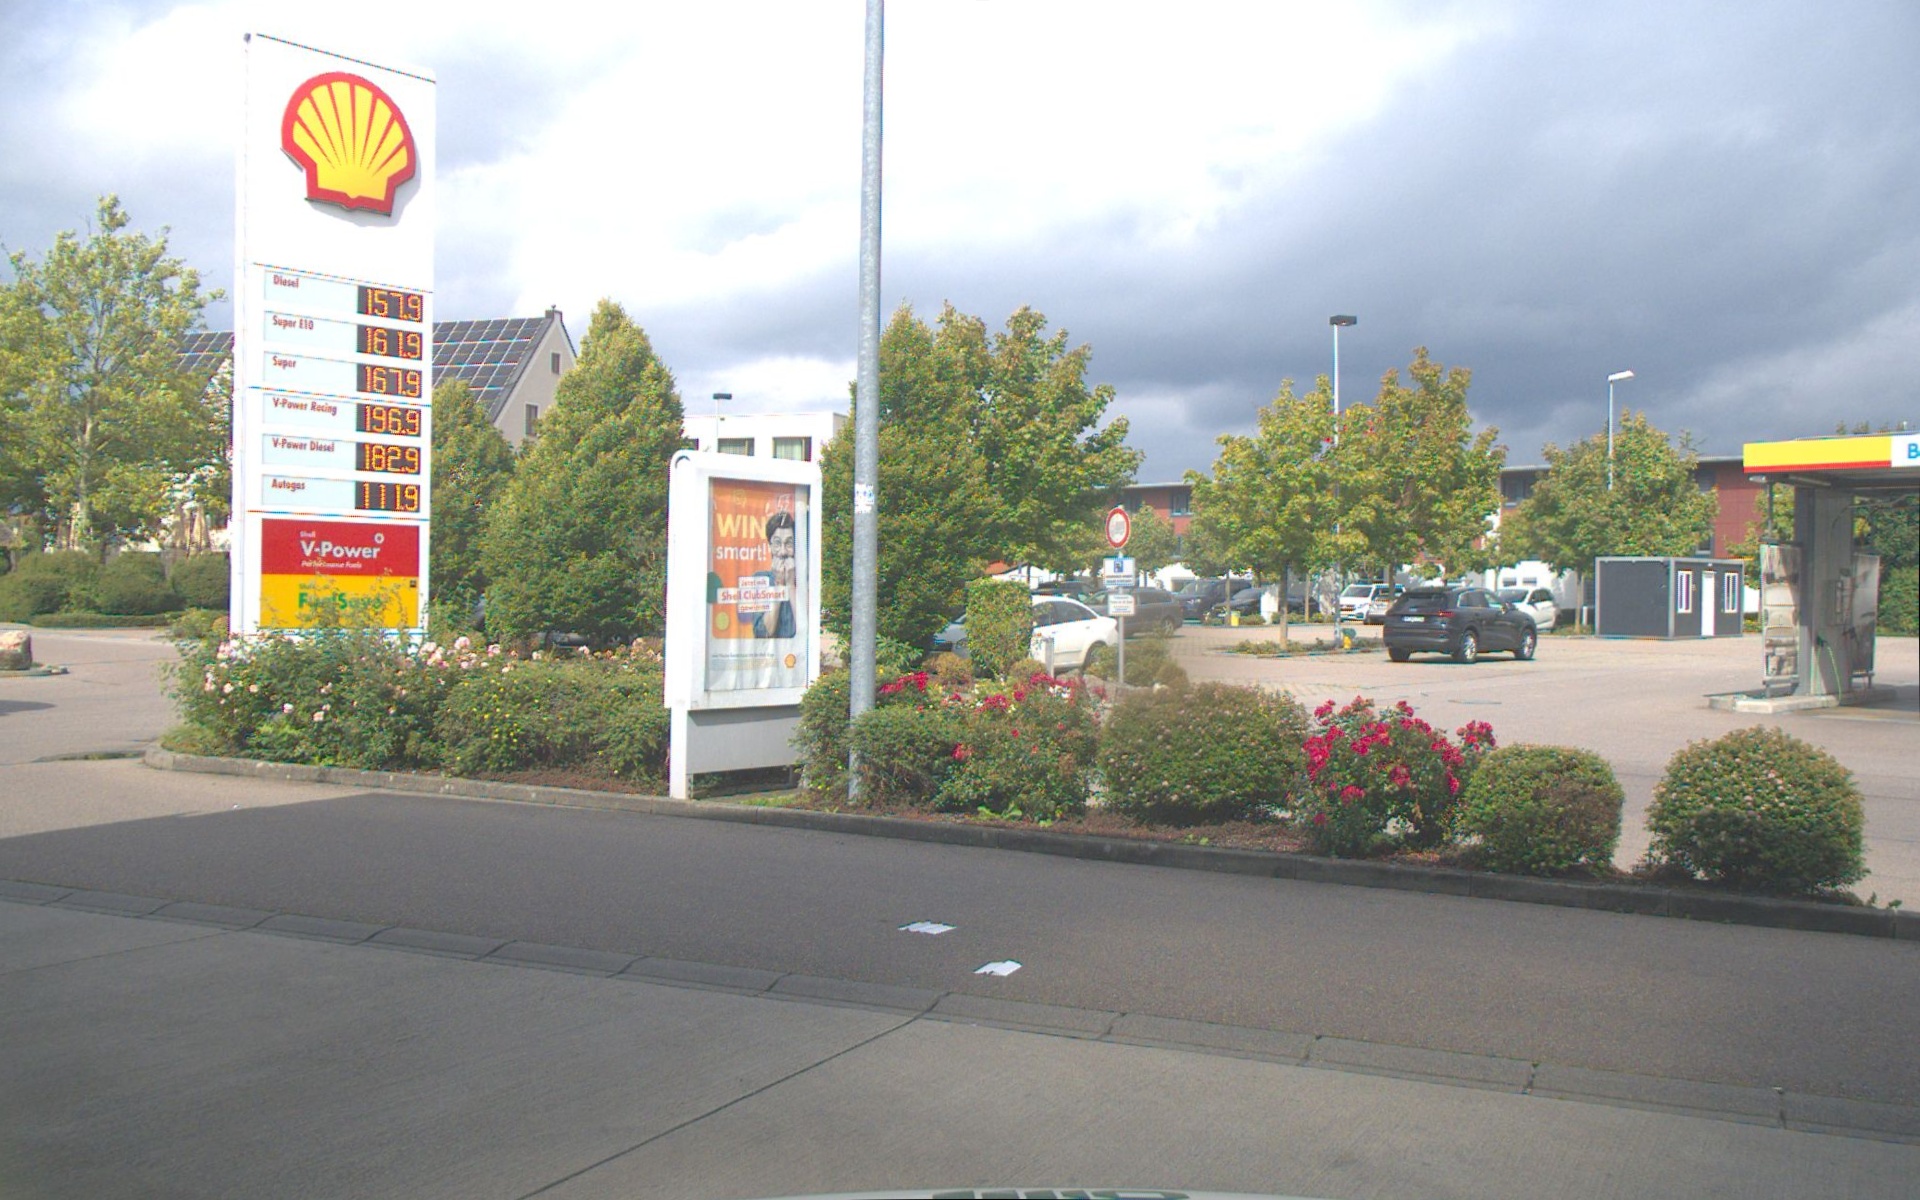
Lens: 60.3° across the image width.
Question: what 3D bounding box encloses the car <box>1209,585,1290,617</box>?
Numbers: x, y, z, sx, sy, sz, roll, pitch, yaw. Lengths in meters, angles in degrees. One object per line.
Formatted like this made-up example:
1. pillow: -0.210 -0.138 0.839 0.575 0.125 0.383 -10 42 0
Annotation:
1. car: 11.417 0.050 65.206 3.393 1.199 1.462 1 0 -45

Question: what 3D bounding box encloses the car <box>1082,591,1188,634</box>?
1. car: 5.283 0.374 49.788 3.203 1.249 1.481 1 0 -45

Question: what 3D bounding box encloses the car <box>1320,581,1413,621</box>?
1. car: 19.920 0.047 80.942 4.839 1.865 2.150 1 0 -44

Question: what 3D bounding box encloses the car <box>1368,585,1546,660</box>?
1. car: 11.135 0.494 36.889 4.467 1.575 1.856 1 0 -44

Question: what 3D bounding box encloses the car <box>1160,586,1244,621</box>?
1. car: 9.816 0.153 66.928 3.364 1.343 1.719 1 0 -45

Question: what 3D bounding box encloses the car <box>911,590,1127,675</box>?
1. car: 1.137 0.582 29.933 1.348 1.428 4.312 1 -1 45

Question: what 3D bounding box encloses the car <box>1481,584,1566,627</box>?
1. car: 18.012 0.179 52.802 3.080 1.330 1.346 1 -1 -45
